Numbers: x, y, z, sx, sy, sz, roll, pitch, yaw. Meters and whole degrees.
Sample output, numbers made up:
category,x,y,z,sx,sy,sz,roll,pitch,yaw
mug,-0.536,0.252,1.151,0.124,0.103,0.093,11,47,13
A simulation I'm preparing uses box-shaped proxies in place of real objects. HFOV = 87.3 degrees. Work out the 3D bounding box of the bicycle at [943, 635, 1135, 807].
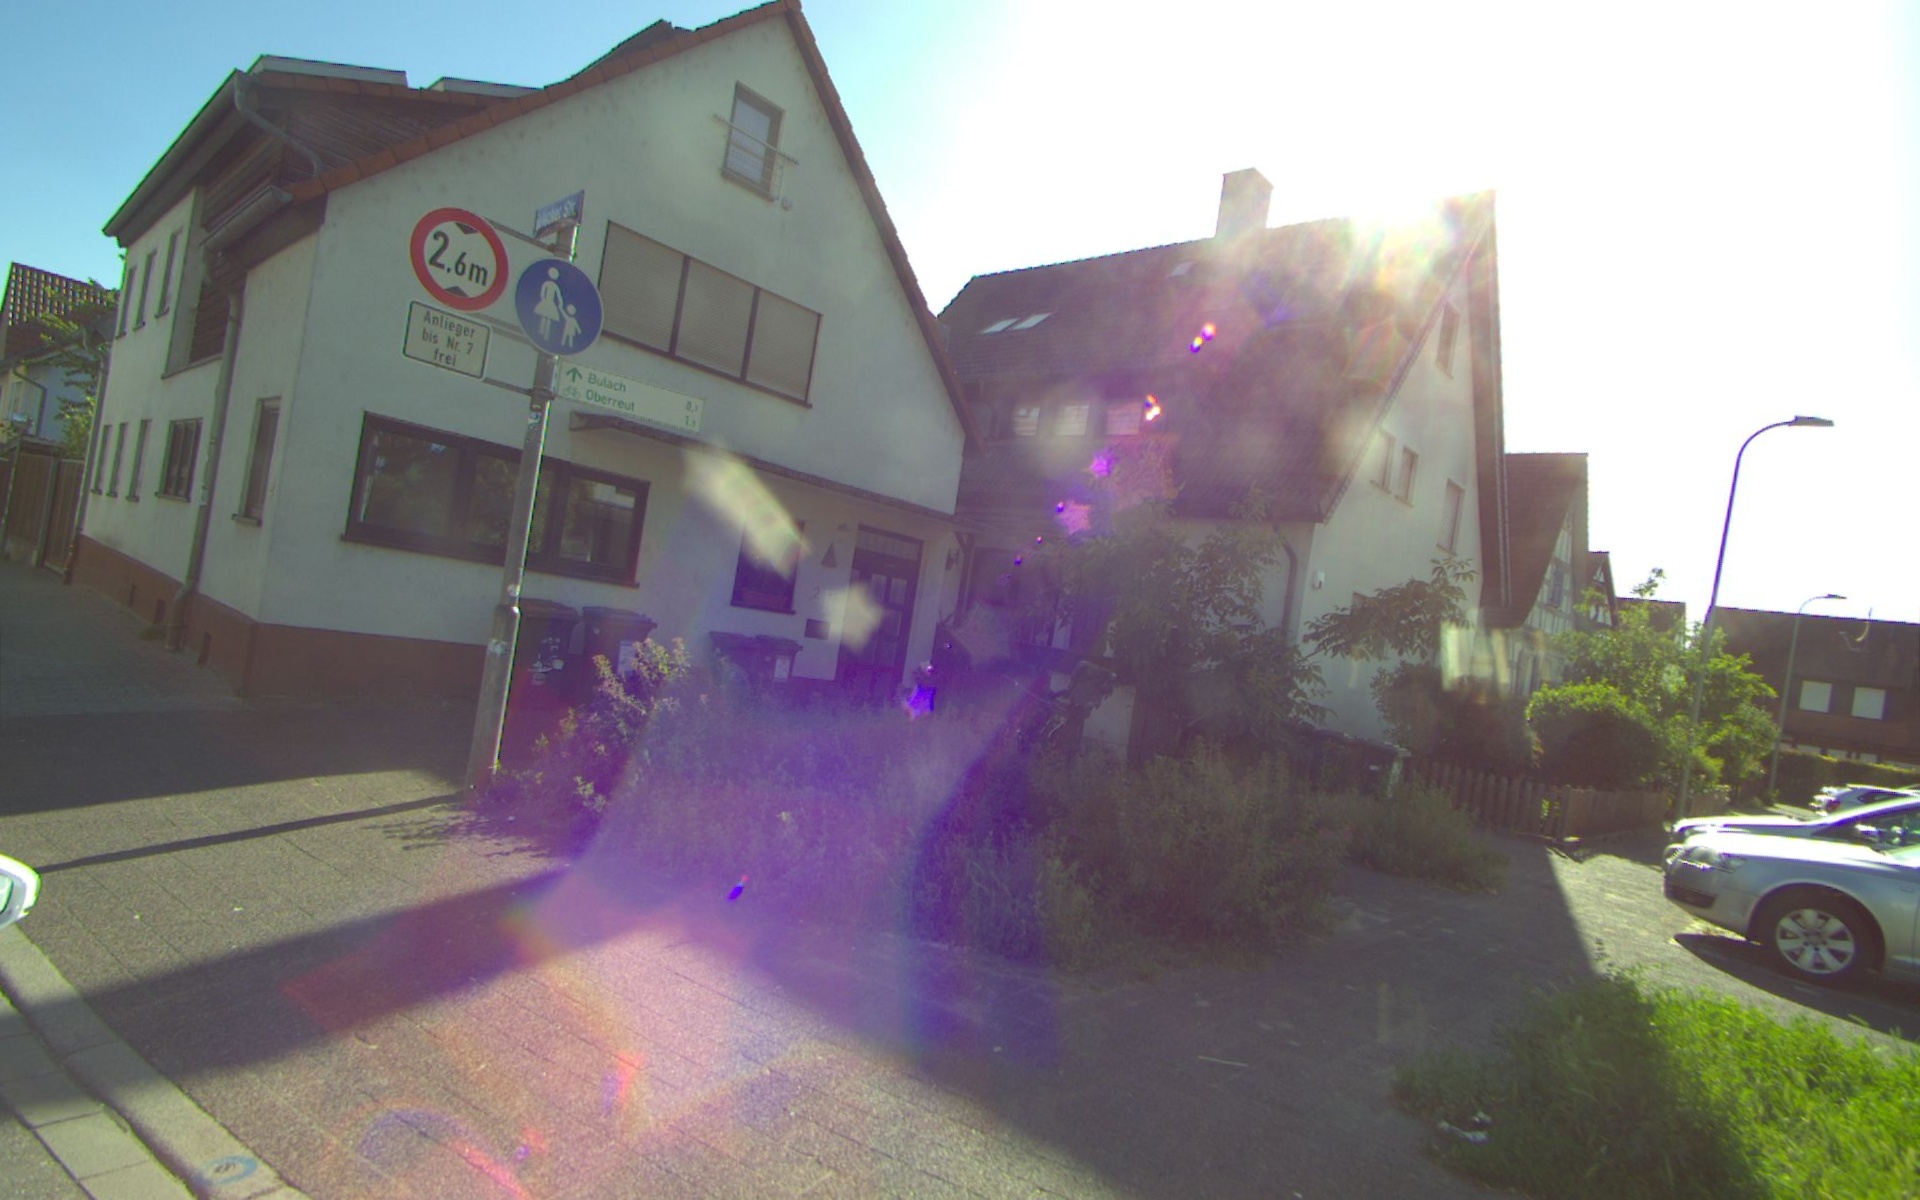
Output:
category,x,y,z,sx,sy,sz,roll,pitch,yaw
bicycle,0.743,1.088,8.876,0.690,1.297,1.739,7,-3,38

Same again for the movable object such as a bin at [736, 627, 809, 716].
category,x,y,z,sx,sy,sz,roll,pitch,yaw
movable object such as a bin,-2.318,0.885,12.426,0.585,0.987,0.498,8,-2,40

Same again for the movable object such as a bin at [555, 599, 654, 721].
category,x,y,z,sx,sy,sz,roll,pitch,yaw
movable object such as a bin,-3.714,0.623,10.505,0.737,1.135,0.527,8,-2,40

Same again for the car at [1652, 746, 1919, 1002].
category,x,y,z,sx,sy,sz,roll,pitch,yaw
car,7.915,2.277,7.088,4.732,1.437,1.995,9,-2,40

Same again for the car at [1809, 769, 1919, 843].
category,x,y,z,sx,sy,sz,roll,pitch,yaw
car,25.737,5.790,27.603,3.567,1.469,1.455,9,-2,41

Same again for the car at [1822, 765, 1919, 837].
category,x,y,z,sx,sy,sz,roll,pitch,yaw
car,29.186,6.344,31.064,3.650,1.645,1.409,9,0,40

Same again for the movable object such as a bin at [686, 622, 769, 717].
category,x,y,z,sx,sy,sz,roll,pitch,yaw
movable object such as a bin,-2.746,0.820,11.887,0.659,0.994,0.529,8,-2,40

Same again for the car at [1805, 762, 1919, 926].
category,x,y,z,sx,sy,sz,roll,pitch,yaw
car,11.852,2.975,10.488,1.704,1.569,4.349,11,-2,-42

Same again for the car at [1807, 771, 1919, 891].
category,x,y,z,sx,sy,sz,roll,pitch,yaw
car,15.189,3.723,14.923,1.594,1.491,3.759,11,-1,-45

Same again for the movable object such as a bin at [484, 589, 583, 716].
category,x,y,z,sx,sy,sz,roll,pitch,yaw
movable object such as a bin,-4.281,0.522,10.083,0.737,1.135,0.480,8,-2,40

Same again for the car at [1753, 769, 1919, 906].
category,x,y,z,sx,sy,sz,roll,pitch,yaw
car,12.968,3.347,12.942,1.644,1.364,4.059,13,-3,-45

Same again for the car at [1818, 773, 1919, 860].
category,x,y,z,sx,sy,sz,roll,pitch,yaw
car,20.607,4.795,21.294,3.567,1.437,1.454,9,0,41

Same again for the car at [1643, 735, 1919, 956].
category,x,y,z,sx,sy,sz,roll,pitch,yaw
car,9.141,2.477,9.229,1.704,1.534,4.349,11,-2,-42
